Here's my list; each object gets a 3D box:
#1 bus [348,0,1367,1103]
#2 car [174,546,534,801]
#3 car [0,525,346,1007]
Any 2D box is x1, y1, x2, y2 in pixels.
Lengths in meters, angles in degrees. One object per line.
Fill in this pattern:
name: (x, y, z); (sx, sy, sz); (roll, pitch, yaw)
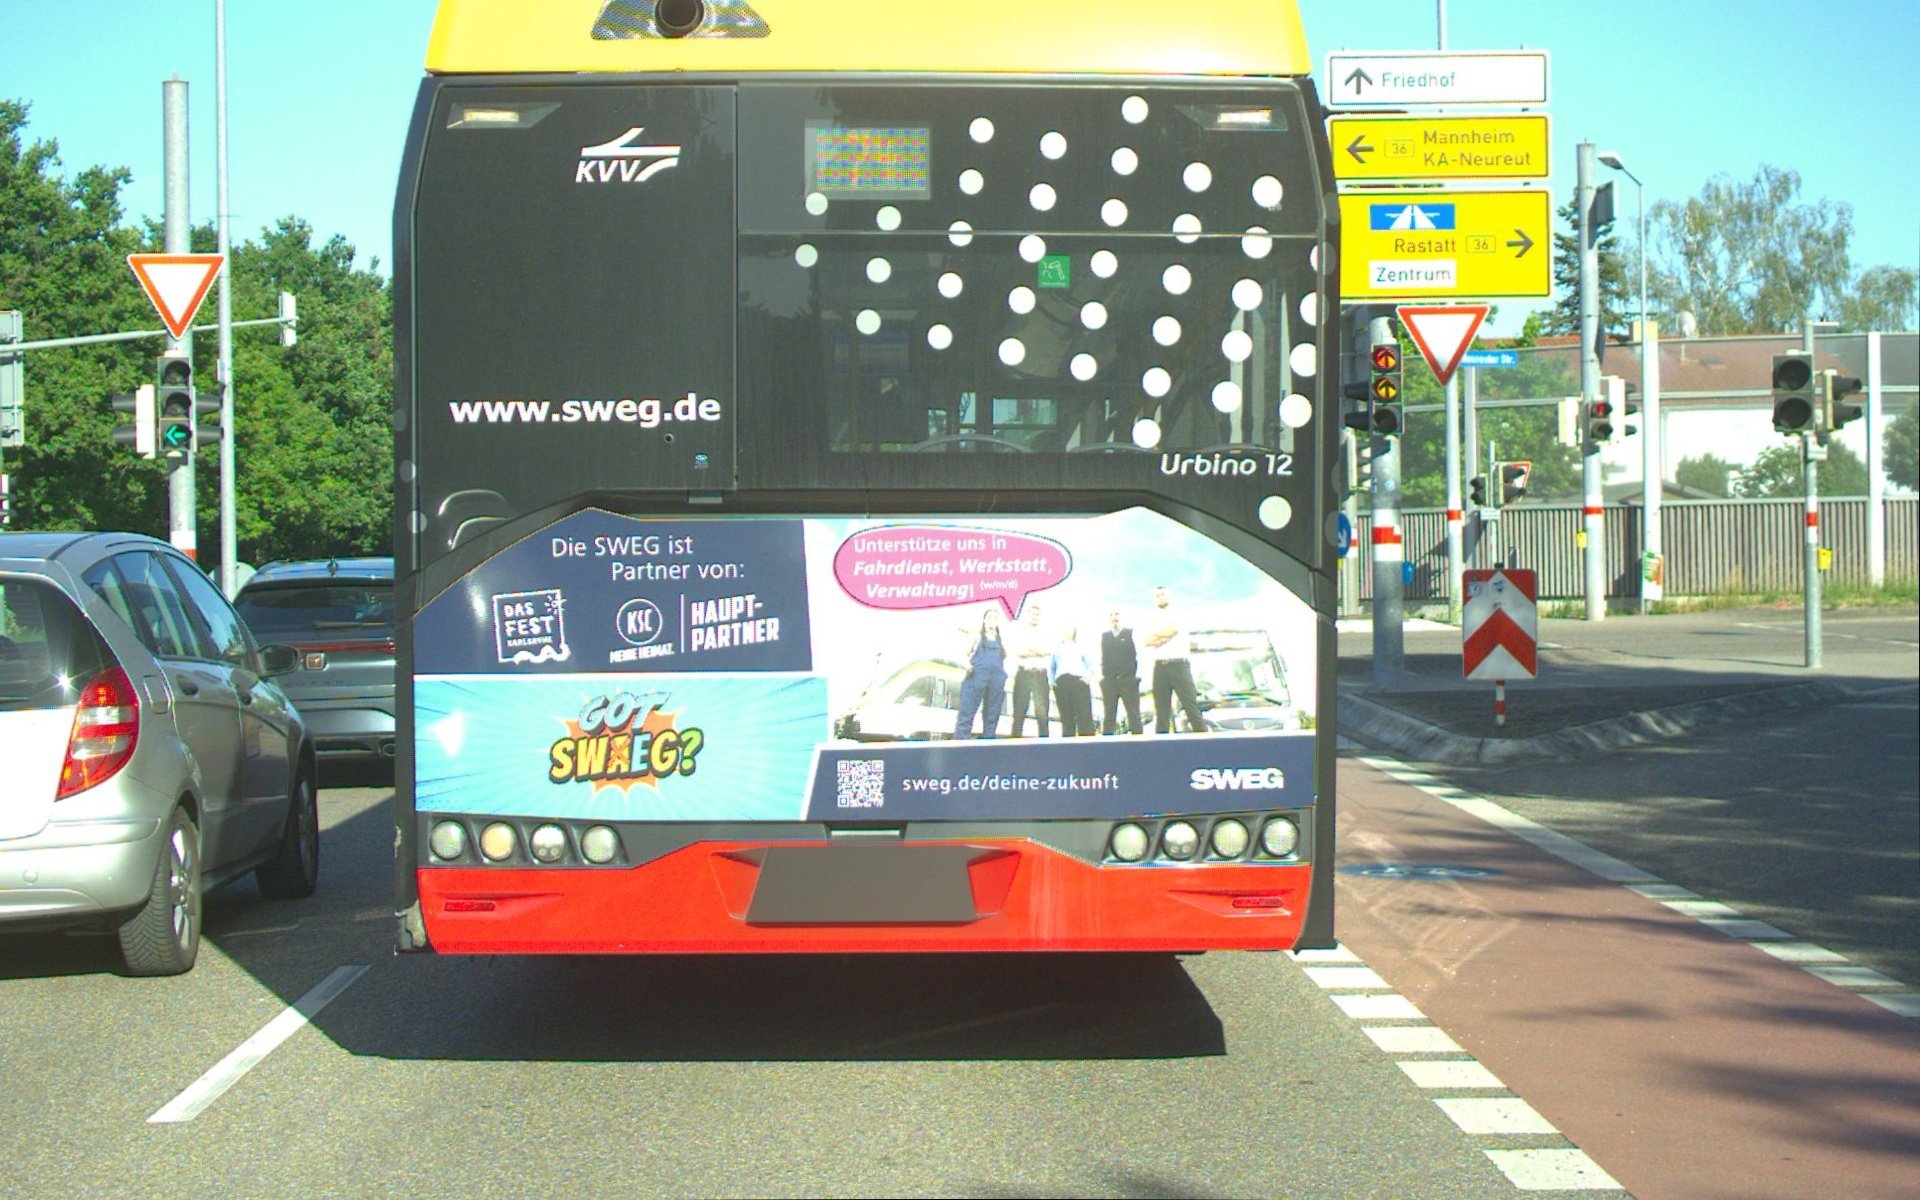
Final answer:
bus: (-0.288, -0.405, 14.894); (2.642, 3.156, 11.861); (0, 1, 0)
car: (-3.833, 0.406, 22.318); (1.692, 1.453, 3.751); (-2, 1, -1)
car: (-3.623, 0.536, 13.396); (1.761, 1.584, 4.000); (-2, 1, -1)
